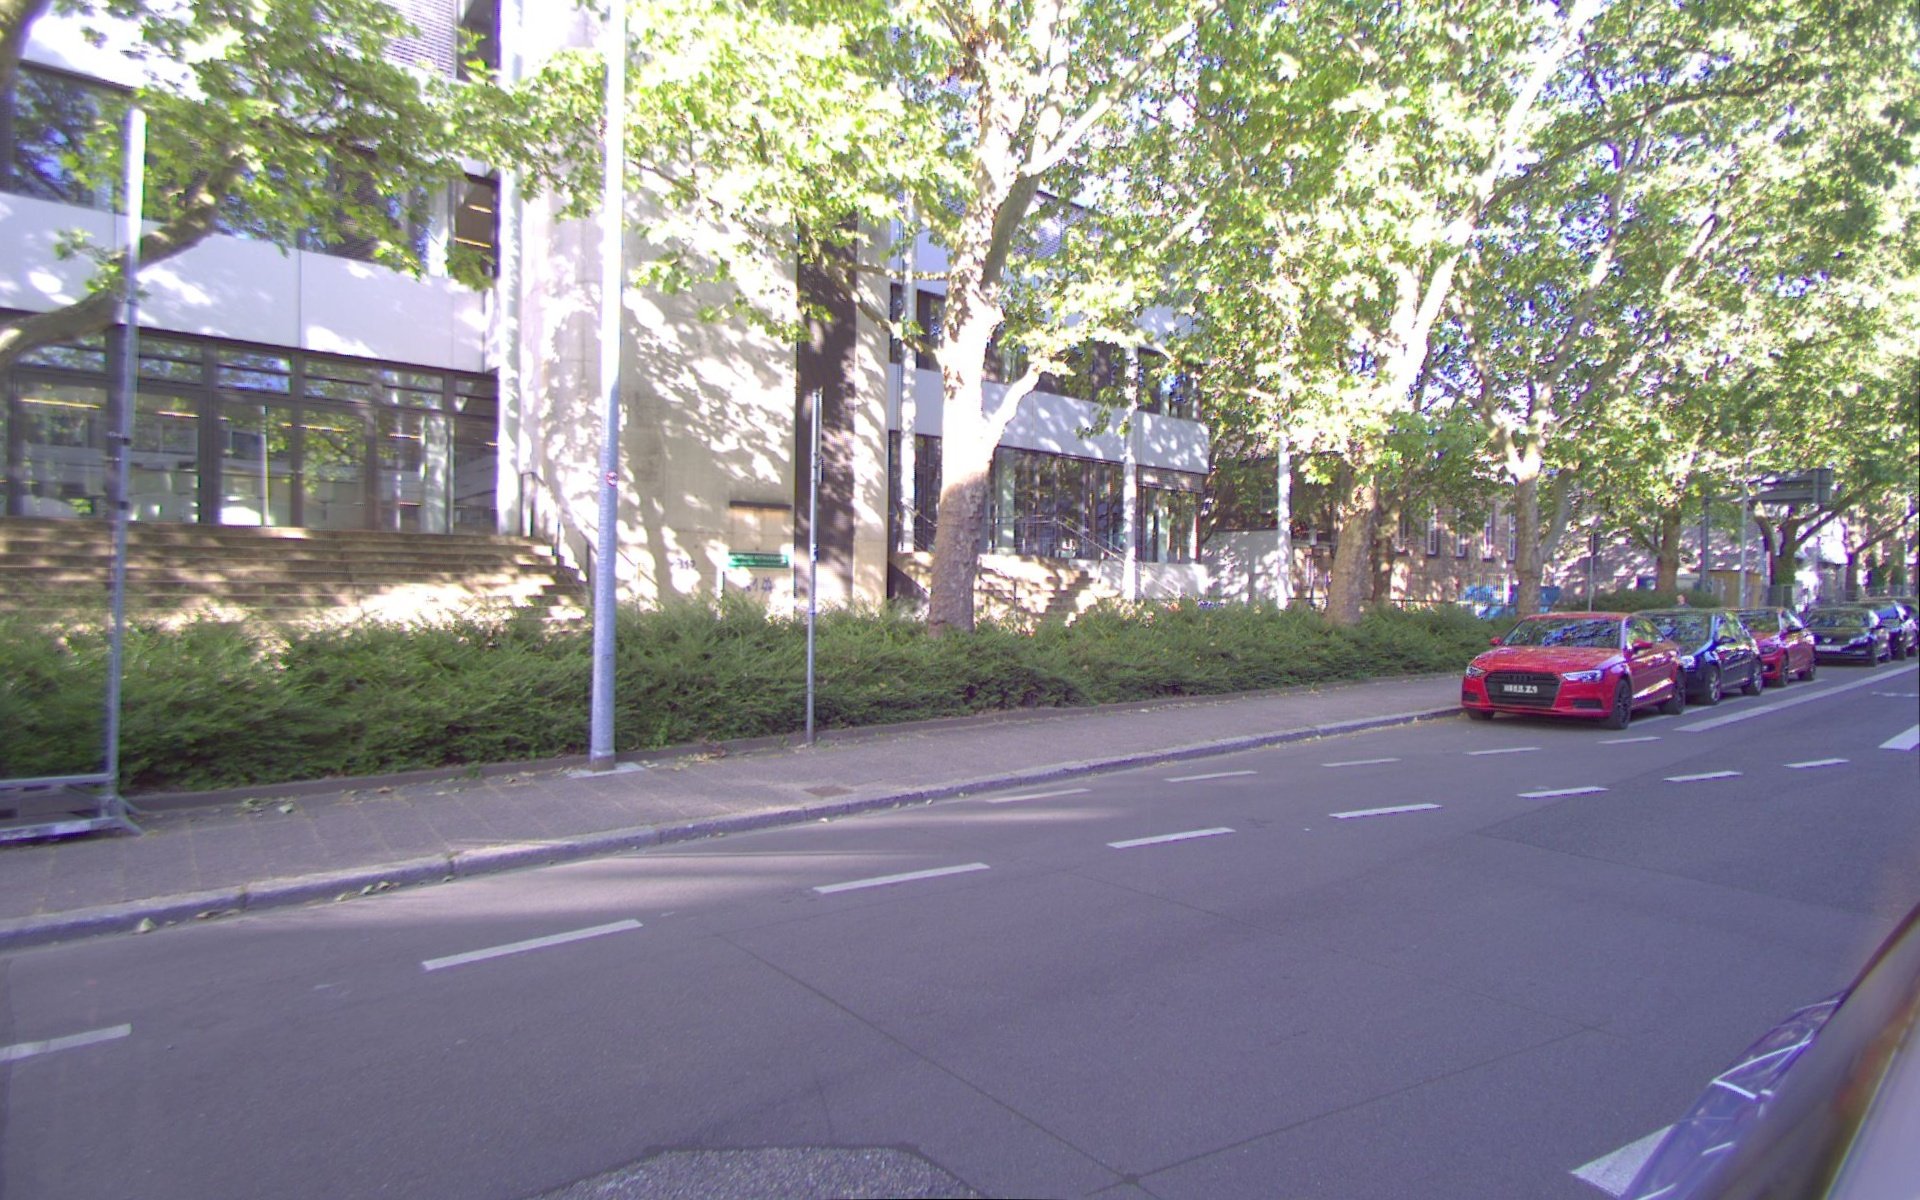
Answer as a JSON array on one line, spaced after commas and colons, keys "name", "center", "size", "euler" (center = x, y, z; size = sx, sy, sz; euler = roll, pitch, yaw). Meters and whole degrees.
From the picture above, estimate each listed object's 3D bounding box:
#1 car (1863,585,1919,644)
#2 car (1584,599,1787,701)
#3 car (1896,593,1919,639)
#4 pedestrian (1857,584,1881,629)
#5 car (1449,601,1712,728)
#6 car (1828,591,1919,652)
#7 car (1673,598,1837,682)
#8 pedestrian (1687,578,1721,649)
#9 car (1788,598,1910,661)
[{"name": "car", "center": [31.050, 0.437, 32.977], "size": [4.383, 1.820, 1.834], "euler": [0, 0, -40]}, {"name": "car", "center": [12.027, 0.718, 16.687], "size": [4.095, 1.464, 1.834], "euler": [0, 0, -41]}, {"name": "car", "center": [35.913, 0.579, 37.102], "size": [4.183, 1.634, 1.834], "euler": [0, 0, -40]}, {"name": "pedestrian", "center": [37.948, 0.261, 42.234], "size": [0.629, 1.884, 0.660], "euler": [0, 0, -41]}, {"name": "car", "center": [8.407, 0.736, 13.571], "size": [4.173, 1.422, 1.834], "euler": [0, 0, -41]}, {"name": "car", "center": [26.564, 0.571, 29.087], "size": [4.088, 1.626, 1.834], "euler": [0, 0, -40]}, {"name": "car", "center": [15.842, 0.708, 20.102], "size": [4.095, 1.486, 1.834], "euler": [0, 0, -41]}, {"name": "pedestrian", "center": [19.373, 0.329, 26.347], "size": [0.583, 1.818, 0.600], "euler": [0, 0, -41]}, {"name": "car", "center": [22.875, 0.701, 25.993], "size": [4.095, 1.486, 1.834], "euler": [0, 0, -41]}]
